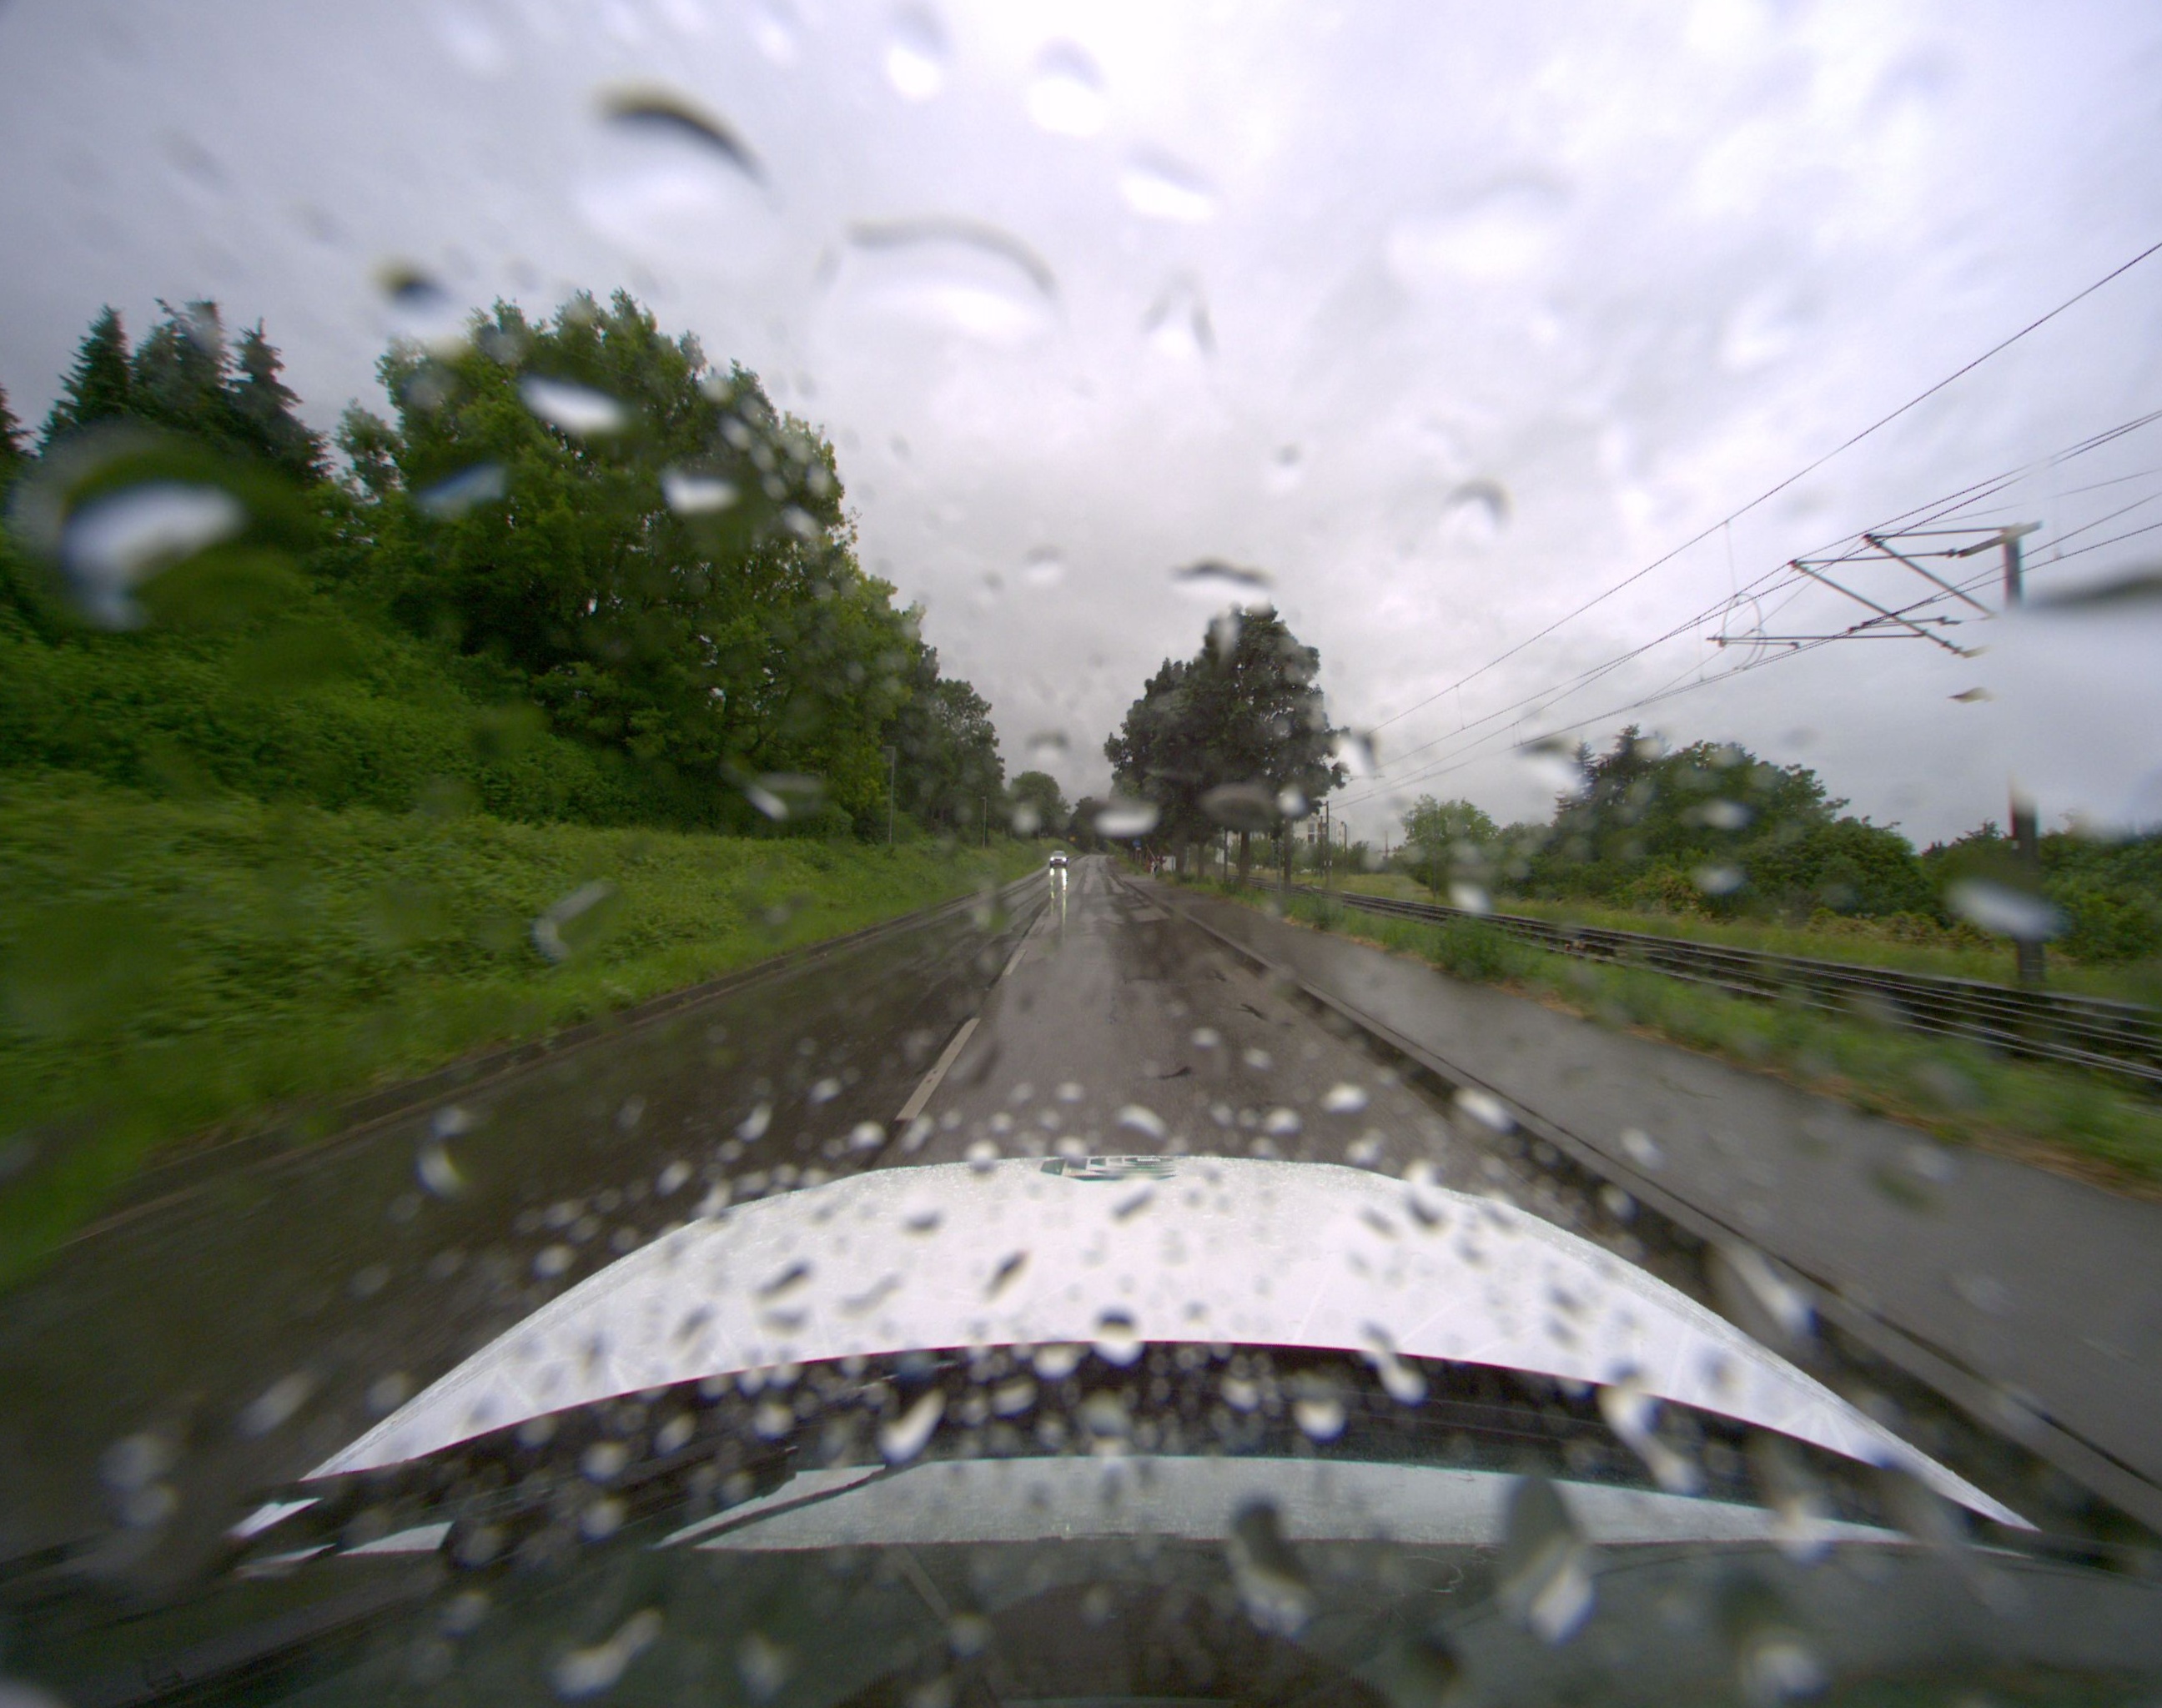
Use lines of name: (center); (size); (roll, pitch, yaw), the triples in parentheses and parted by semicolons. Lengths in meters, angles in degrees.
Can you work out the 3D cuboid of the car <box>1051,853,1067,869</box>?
car: (-2.371, 0.701, 87.680); (1.740, 1.612, 4.085); (1, 1, -2)
